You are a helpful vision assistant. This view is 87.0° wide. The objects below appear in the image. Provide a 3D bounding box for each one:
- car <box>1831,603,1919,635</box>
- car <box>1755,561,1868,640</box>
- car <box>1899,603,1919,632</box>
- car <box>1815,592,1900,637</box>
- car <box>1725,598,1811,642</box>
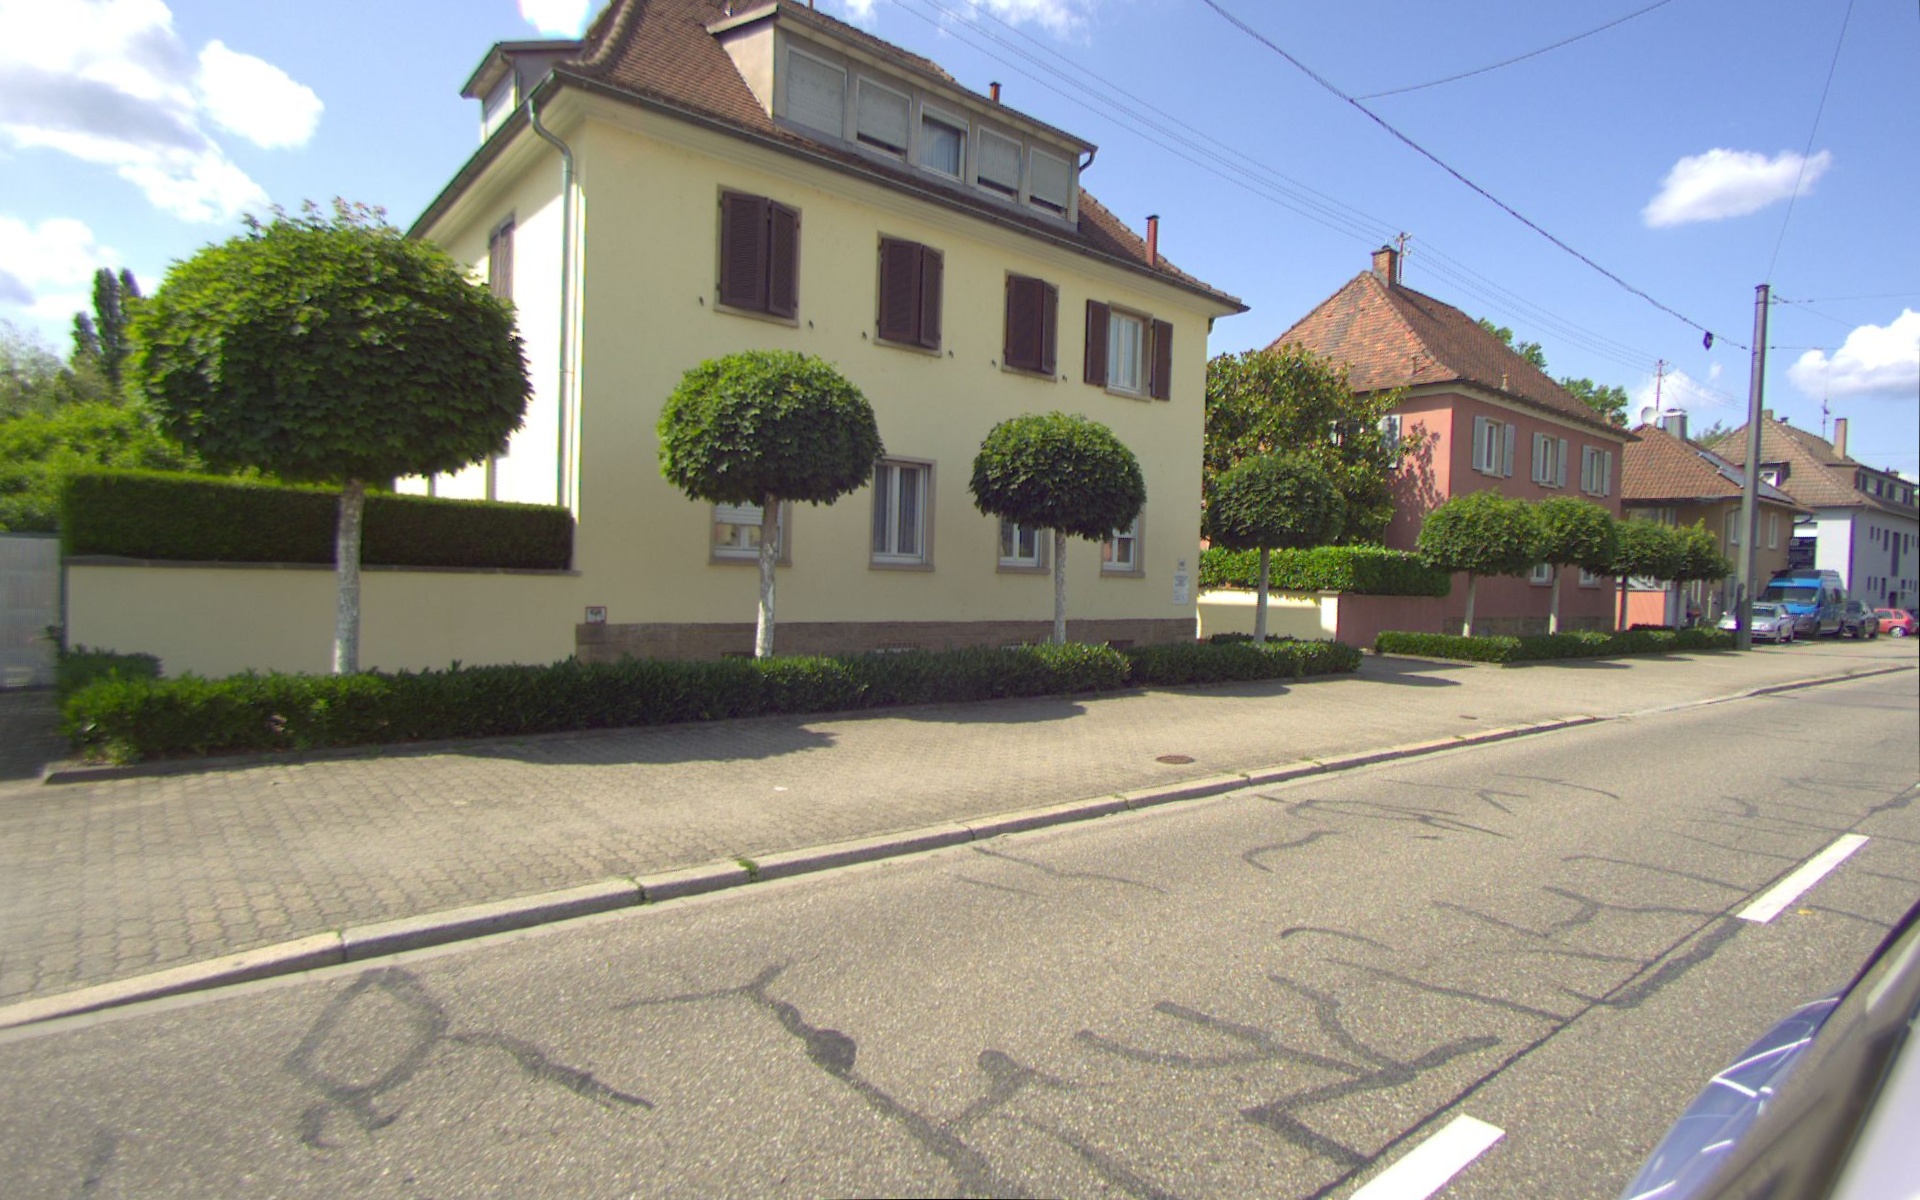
[{"bbox_3d":[46.734,0.932,51.312,1.695,1.397,3.659,0,2,-38],"label":"car"},{"bbox_3d":[34.377,-0.005,40.794,6.128,2.967,2.158,0,1,-37],"label":"car"},{"bbox_3d":[51.865,0.945,53.904,4.767,1.441,1.805,1,3,-37],"label":"car"},{"bbox_3d":[39.354,0.637,44.360,4.774,1.732,1.842,1,3,-38],"label":"car"},{"bbox_3d":[29.144,0.673,36.466,4.275,1.426,1.652,0,3,-41],"label":"car"}]
